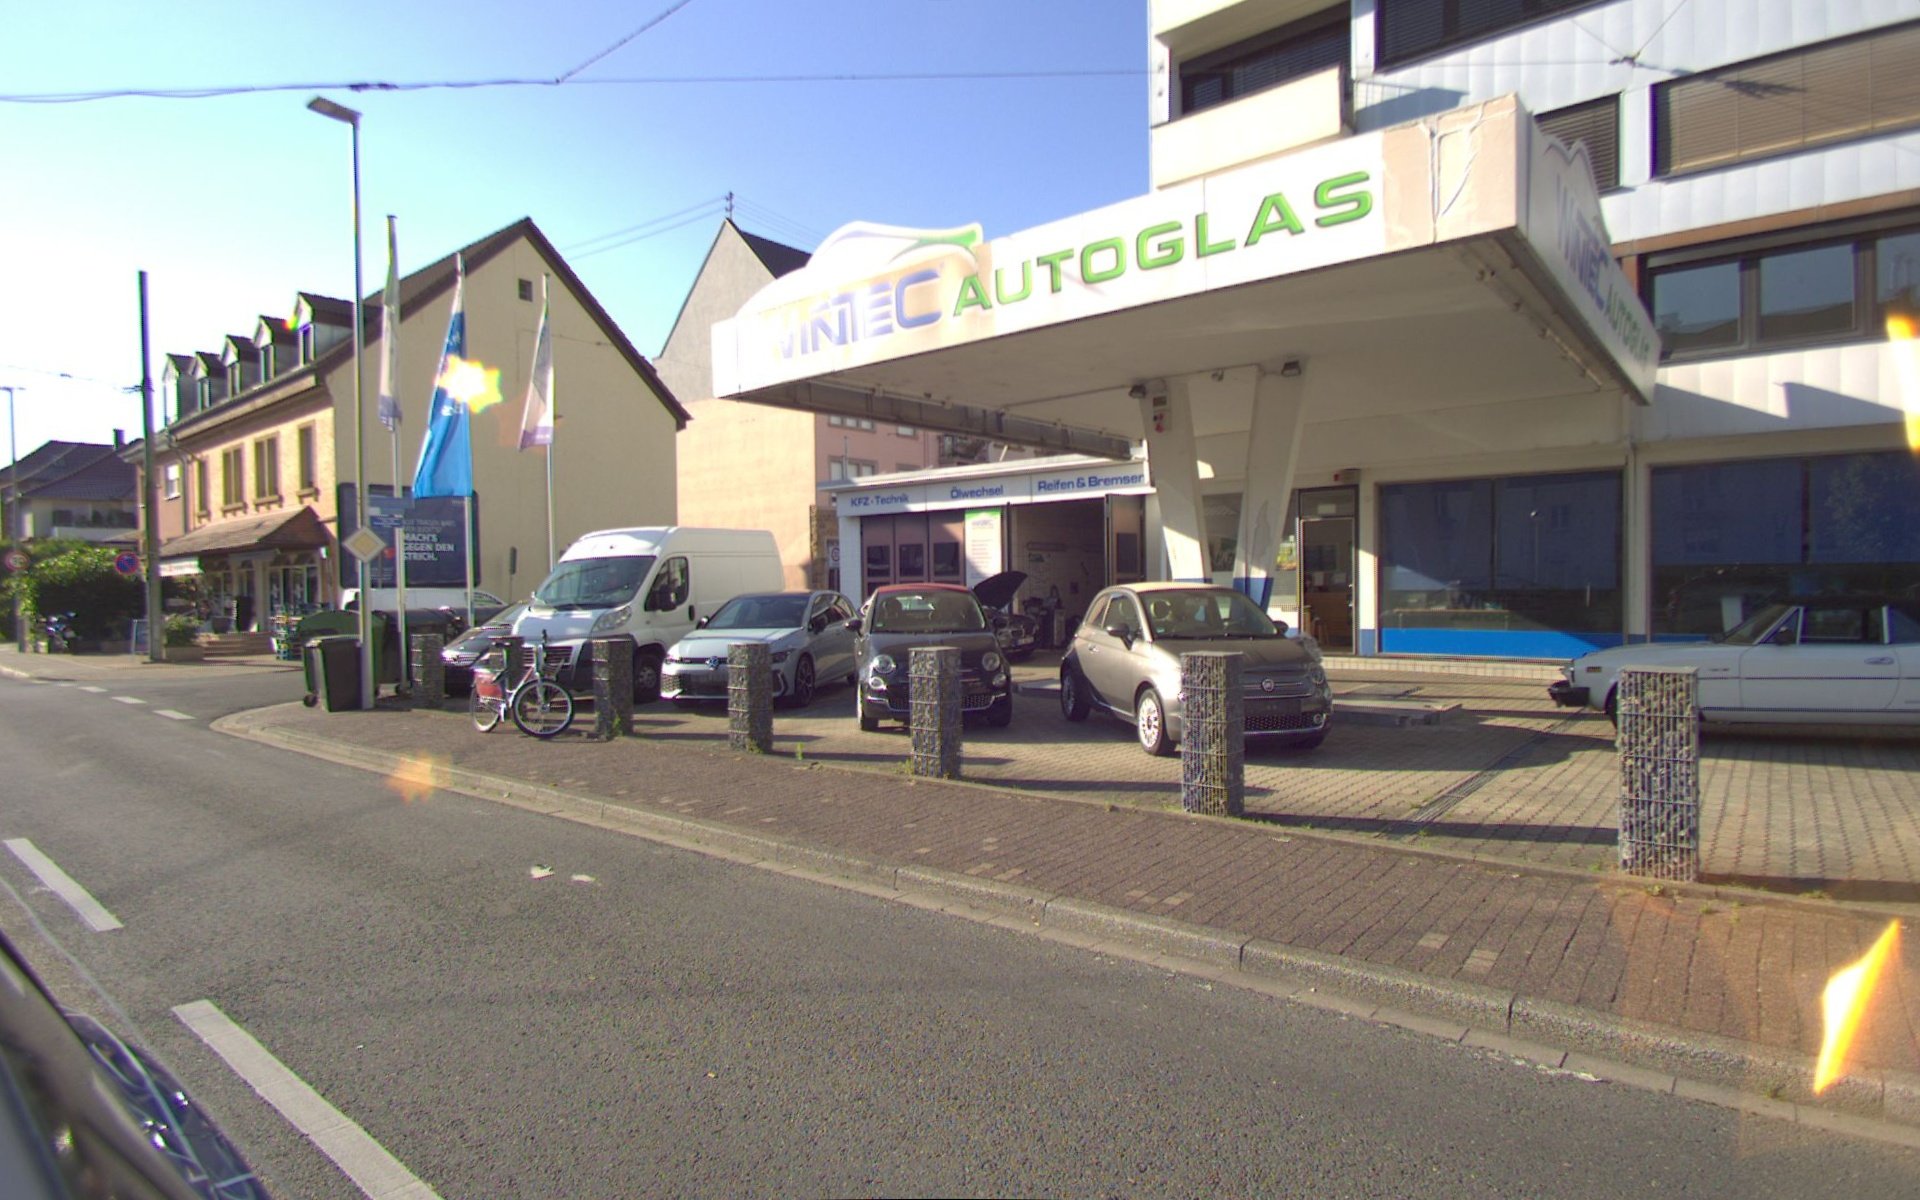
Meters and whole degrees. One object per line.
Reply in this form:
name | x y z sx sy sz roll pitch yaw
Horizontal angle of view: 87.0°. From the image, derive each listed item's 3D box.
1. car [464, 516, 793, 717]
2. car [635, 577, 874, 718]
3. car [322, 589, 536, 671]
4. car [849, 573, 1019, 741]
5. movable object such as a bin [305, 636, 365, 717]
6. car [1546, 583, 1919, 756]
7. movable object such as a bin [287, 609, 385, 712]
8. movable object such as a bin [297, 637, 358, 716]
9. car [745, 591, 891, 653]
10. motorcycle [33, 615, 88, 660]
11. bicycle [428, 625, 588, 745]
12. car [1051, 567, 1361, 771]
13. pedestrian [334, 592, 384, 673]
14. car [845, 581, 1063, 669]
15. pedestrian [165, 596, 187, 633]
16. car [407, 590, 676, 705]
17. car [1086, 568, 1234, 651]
car | -4.653 0.159 15.238 2.091 2.488 5.042 -1 1 18
car | -2.557 0.518 13.658 1.754 1.580 3.987 -2 1 11
car | -13.840 0.704 26.605 1.997 1.947 4.571 -1 0 38
car | -0.426 0.531 11.500 1.597 1.580 3.399 -1 1 -6
movable object such as a bin | -8.900 1.077 14.413 0.631 1.077 0.581 -2 -2 -38
car | 7.435 0.535 8.551 4.131 1.294 1.572 -2 0 37
movable object such as a bin | -9.805 0.936 15.955 1.040 1.494 1.316 -3 -2 -21
movable object such as a bin | -9.306 1.106 14.885 0.652 1.070 0.586 -4 1 -38
car | -4.166 0.600 30.066 1.999 1.536 3.947 5 4 40
motorcycle | -28.067 1.153 31.568 2.229 1.292 0.831 0 2 37
bicycle | -4.965 0.886 11.089 1.774 1.186 0.718 -1 1 31
car | 2.152 0.525 9.795 1.595 1.580 3.402 -1 1 -11
pedestrian | -14.270 0.759 24.018 0.820 1.882 0.784 -1 0 43
car | -0.191 0.491 20.736 4.311 1.580 1.750 -1 1 39
pedestrian | -27.102 0.494 34.989 0.465 1.268 0.517 -1 0 42
car | -6.823 0.696 16.939 1.763 1.580 3.966 -2 1 26
car | 4.794 0.169 23.833 1.769 1.722 4.263 -2 1 36
